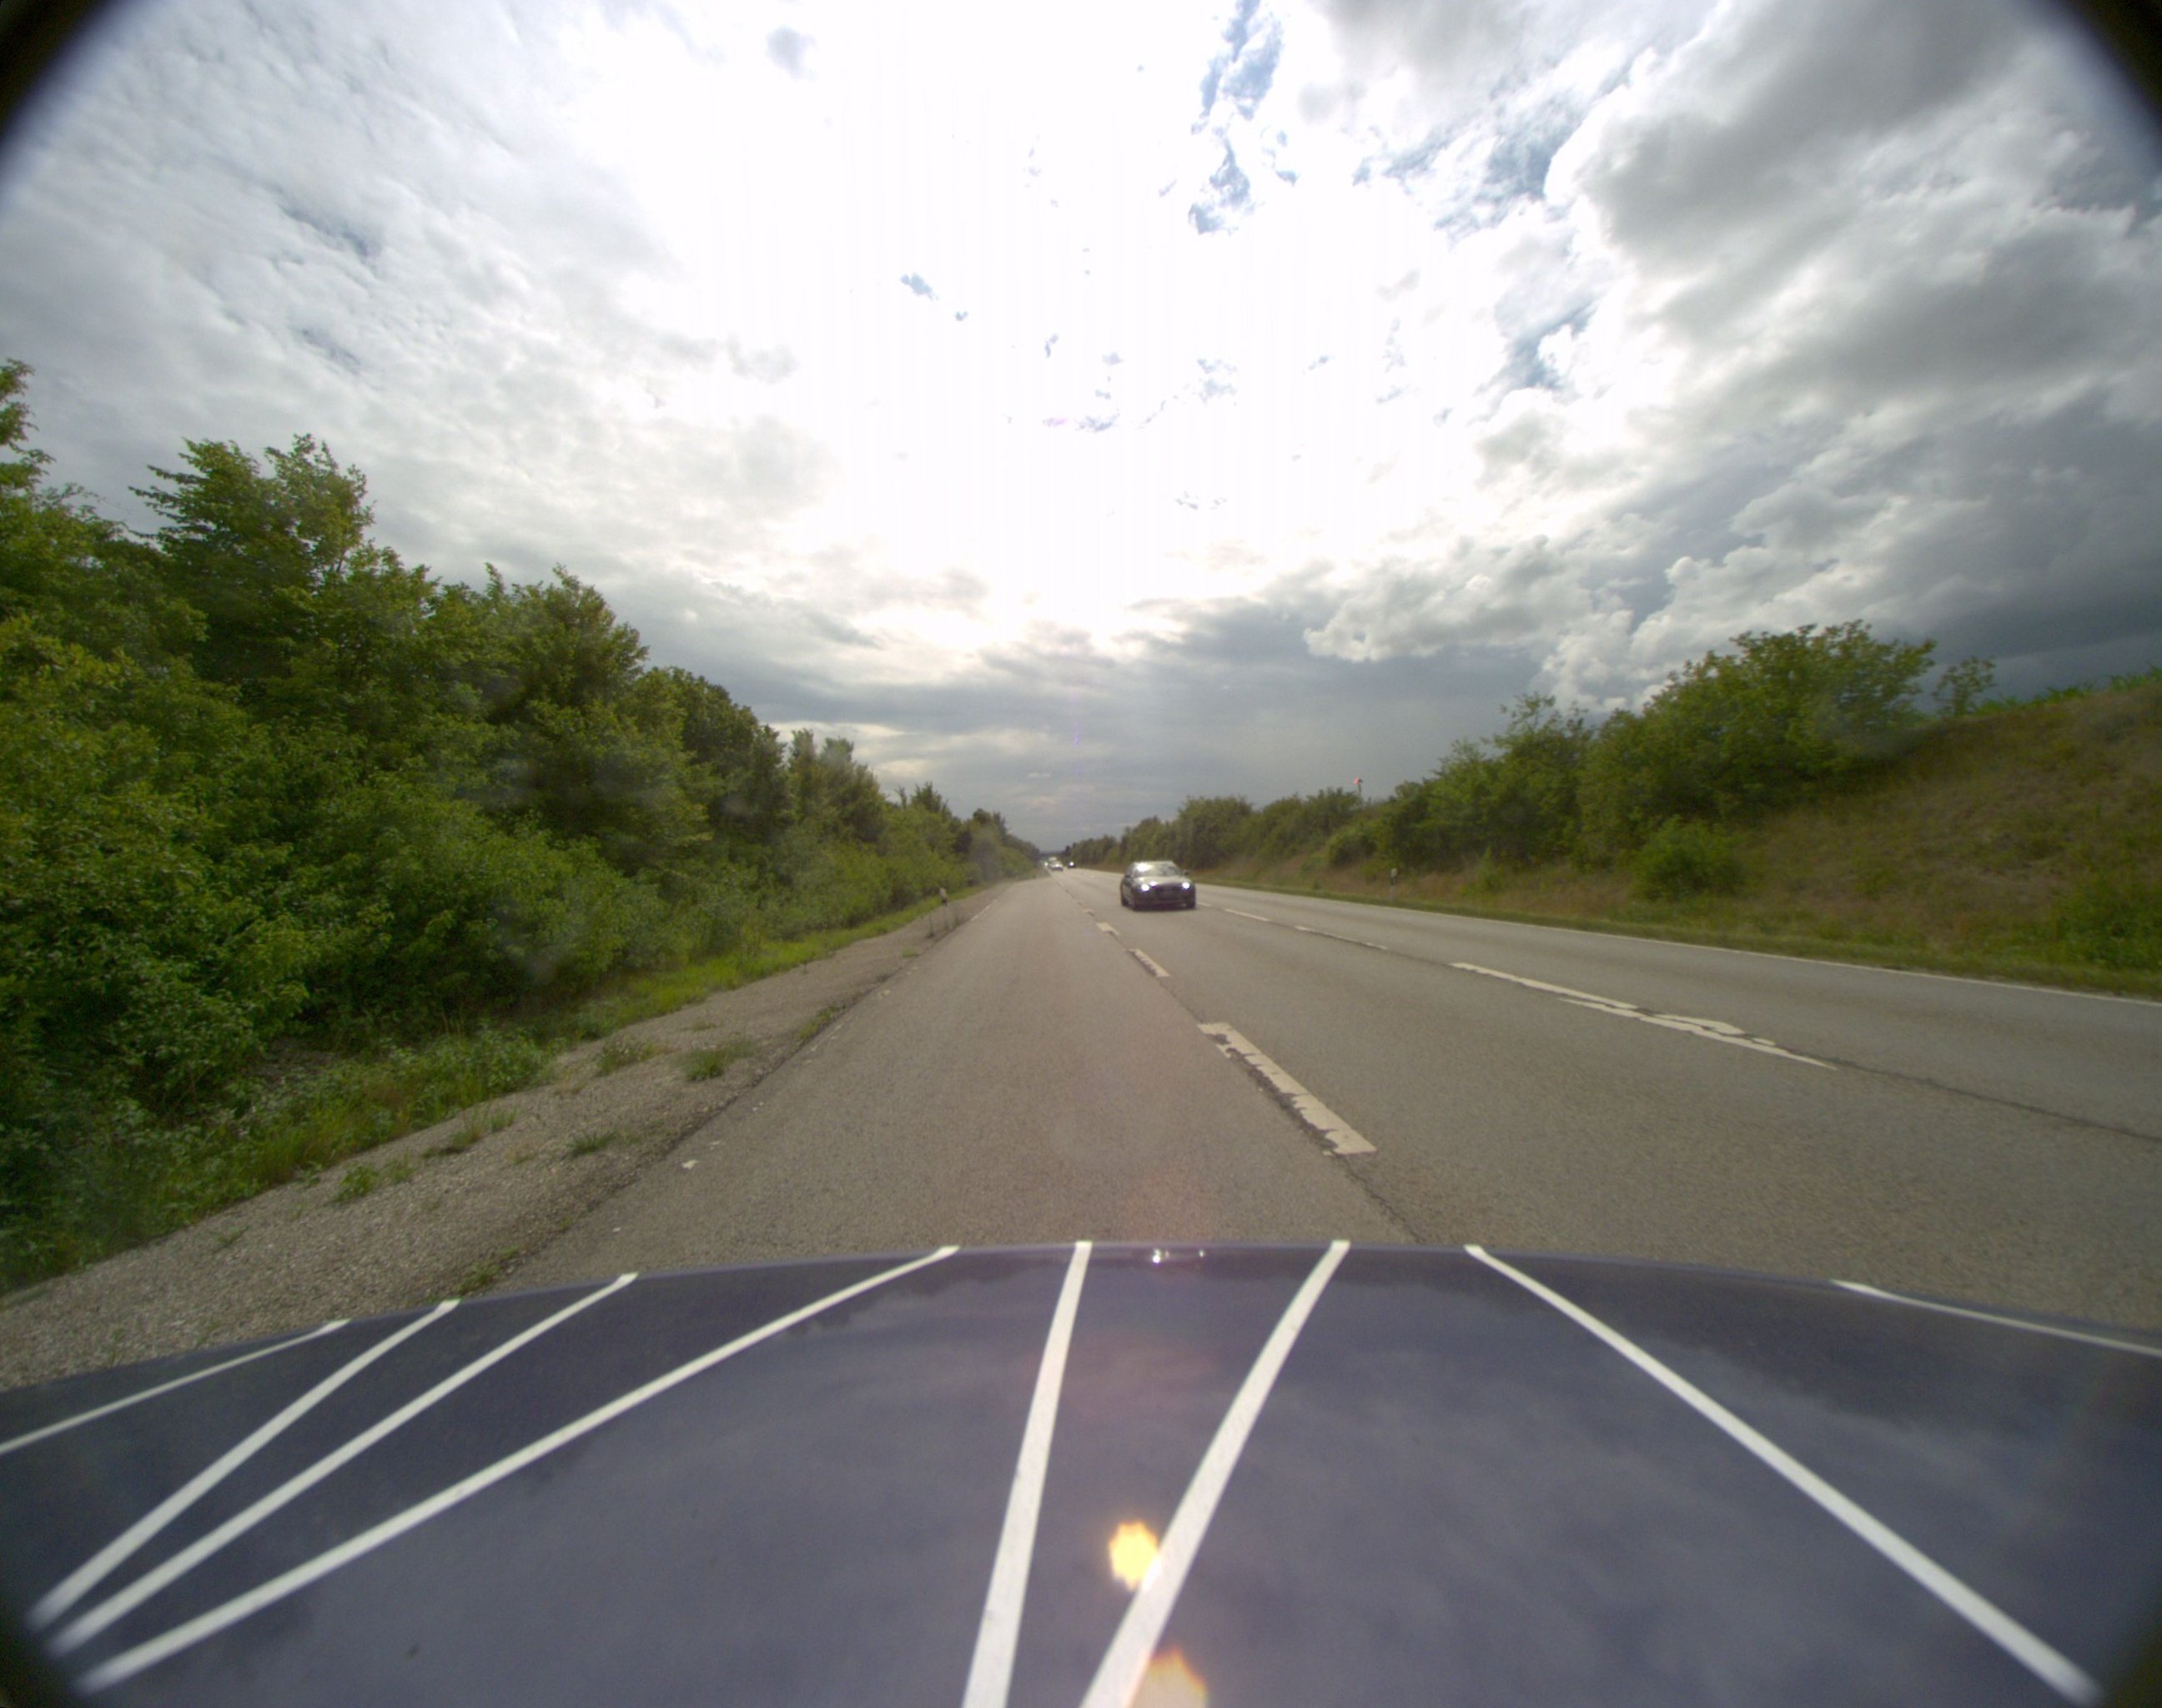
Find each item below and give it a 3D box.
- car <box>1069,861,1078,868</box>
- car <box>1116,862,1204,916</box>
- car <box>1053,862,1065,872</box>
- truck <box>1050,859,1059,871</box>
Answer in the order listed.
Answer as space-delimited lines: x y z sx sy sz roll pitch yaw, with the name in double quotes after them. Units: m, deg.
-1.618 2.346 170.084 1.705 1.322 3.999 -2 0 -3 "car"
2.397 1.037 24.254 1.999 1.436 4.640 -3 0 -3 "car"
-3.810 2.197 131.878 1.871 1.597 3.999 -3 0 -3 "car"
-6.013 2.427 173.037 1.803 2.518 6.684 -3 0 -3 "truck"
